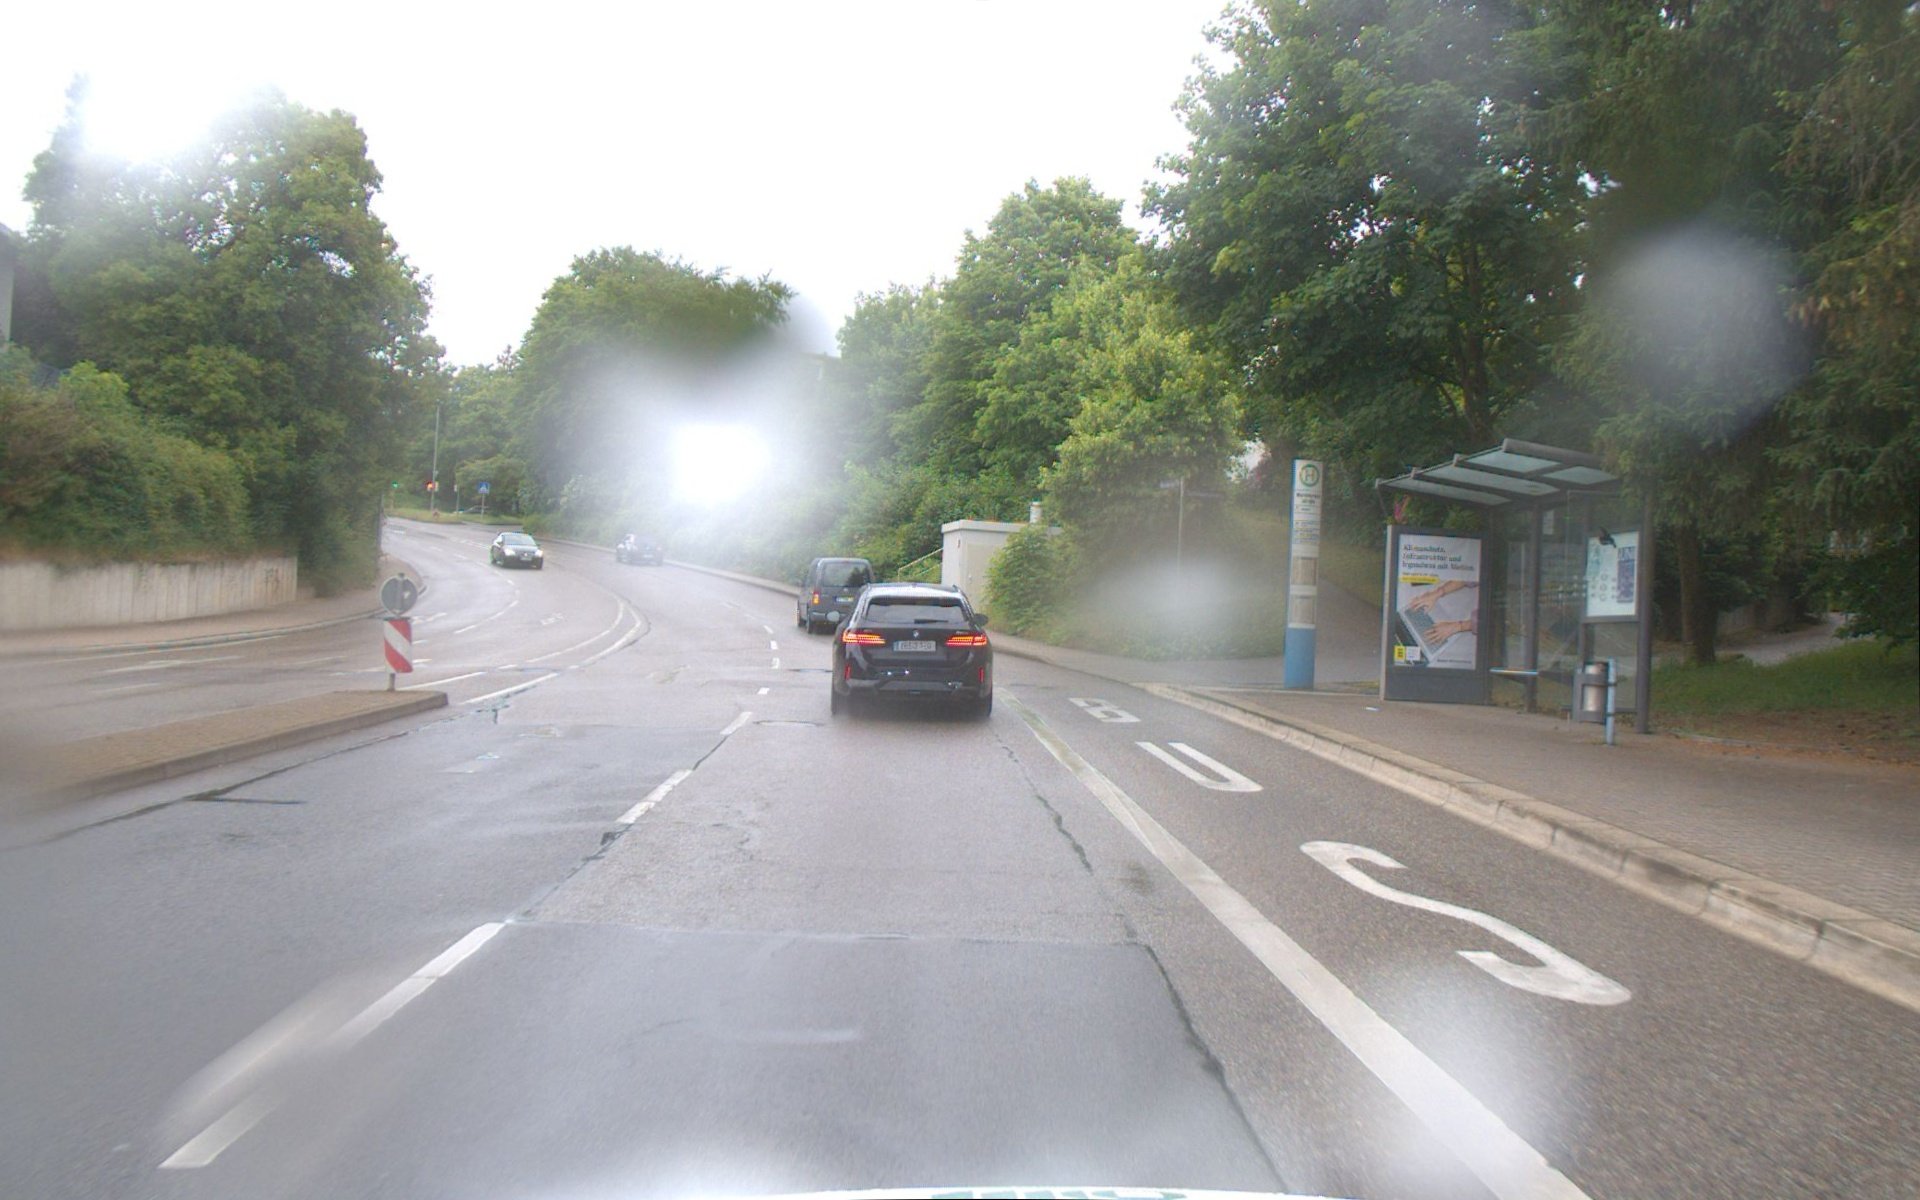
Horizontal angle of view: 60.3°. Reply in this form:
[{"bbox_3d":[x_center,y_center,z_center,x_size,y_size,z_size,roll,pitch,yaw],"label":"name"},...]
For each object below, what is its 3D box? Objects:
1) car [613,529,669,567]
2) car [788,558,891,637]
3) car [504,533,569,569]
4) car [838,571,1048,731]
[{"bbox_3d":[-15.762,-2.540,81.584,1.827,1.691,3.971,2,0,-24],"label":"car"},{"bbox_3d":[-3.075,-0.106,41.486,1.959,1.779,3.988,1,2,-13],"label":"car"},{"bbox_3d":[-18.878,-2.178,73.683,1.870,1.513,4.195,0,1,-28],"label":"car"},{"bbox_3d":[-0.350,0.524,20.243,1.956,1.613,4.656,3,1,-8],"label":"car"}]
